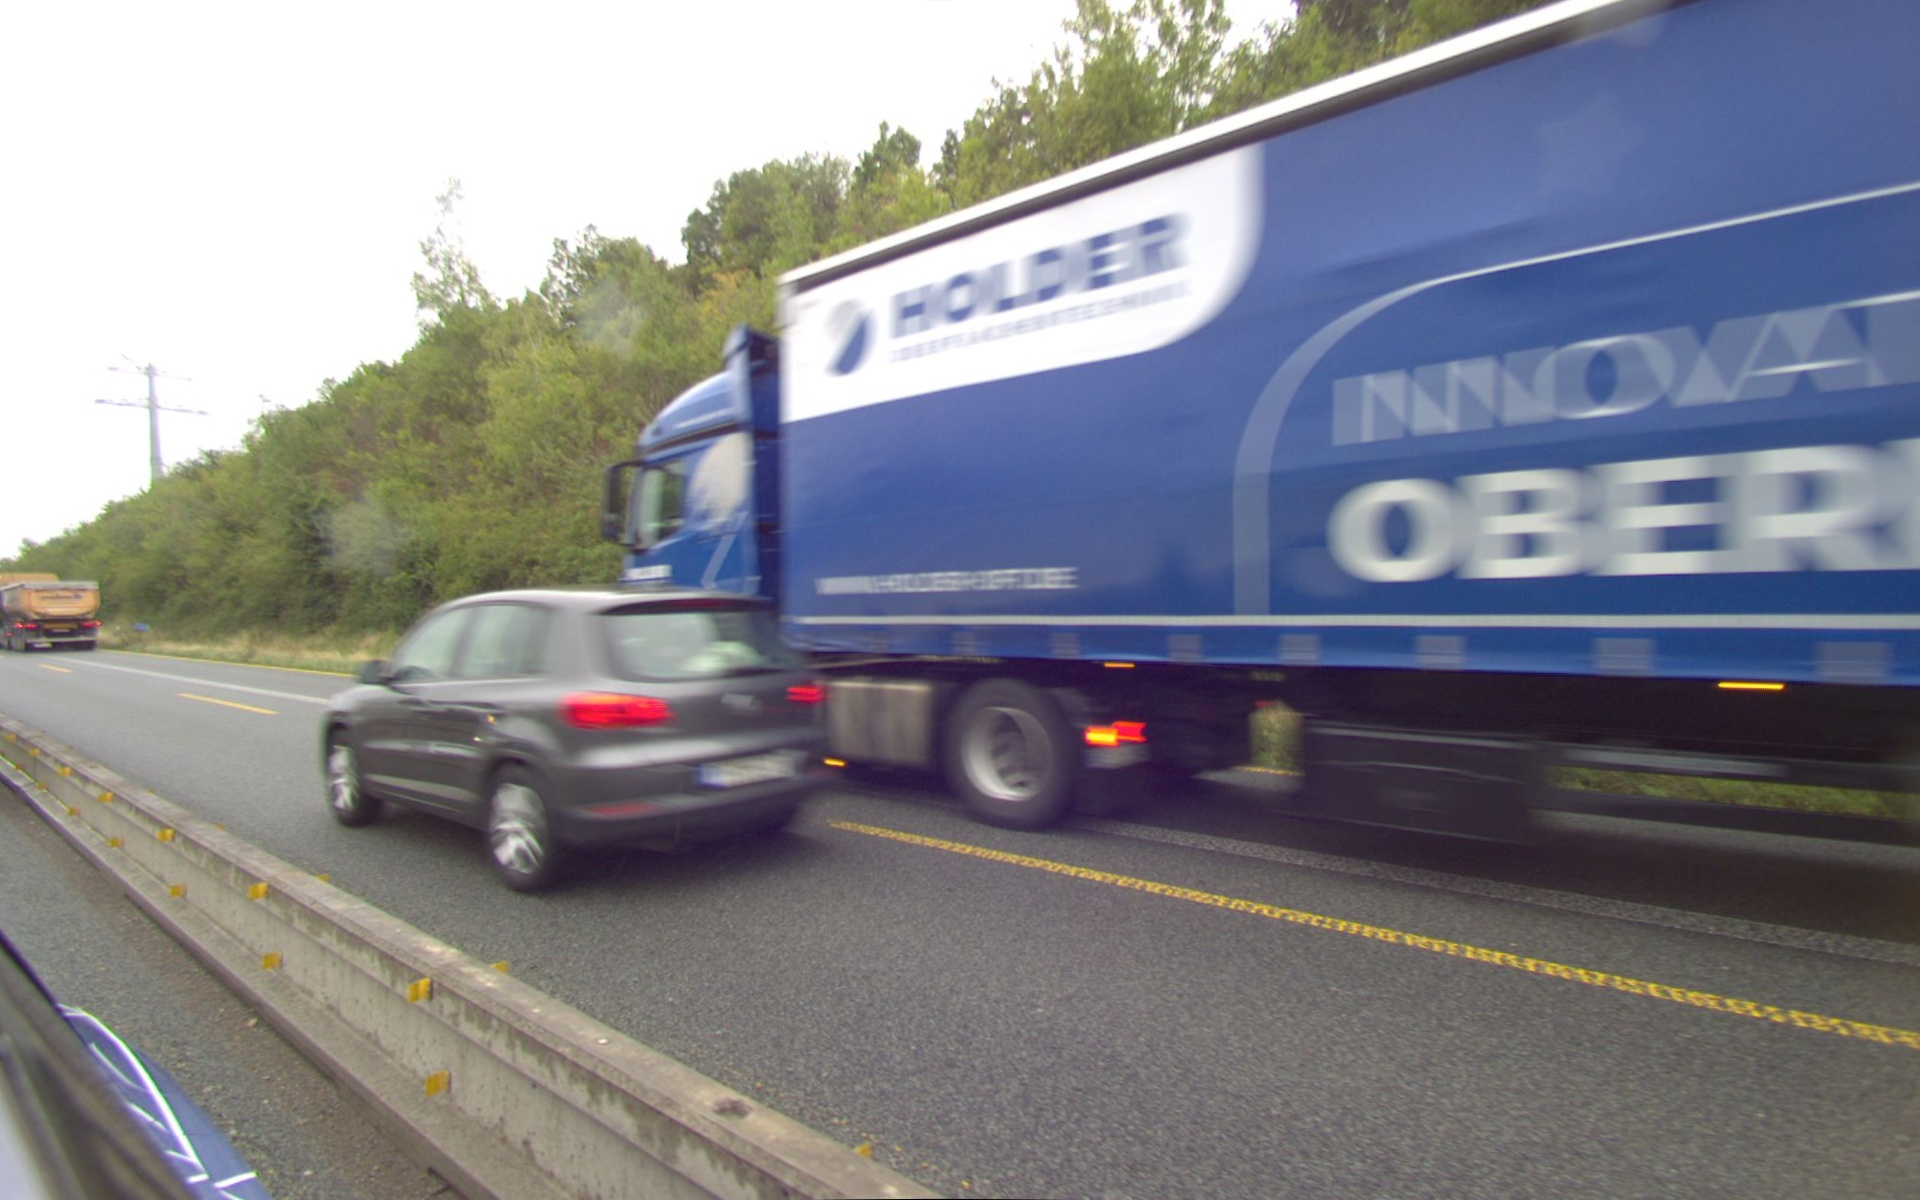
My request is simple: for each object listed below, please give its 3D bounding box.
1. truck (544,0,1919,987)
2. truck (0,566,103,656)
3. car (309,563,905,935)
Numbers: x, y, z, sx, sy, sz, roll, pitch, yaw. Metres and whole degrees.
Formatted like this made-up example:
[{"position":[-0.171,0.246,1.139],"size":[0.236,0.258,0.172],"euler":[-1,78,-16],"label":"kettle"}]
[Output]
[{"position":[3.194,-0.740,5.398],"size":[16.918,4.154,2.737],"euler":[-1,0,41],"label":"truck"},{"position":[-42.129,0.506,46.433],"size":[12.308,3.684,2.653],"euler":[-1,0,42],"label":"truck"},{"position":[-2.440,0.663,6.430],"size":[4.101,1.622,1.765],"euler":[-1,0,41],"label":"car"}]
